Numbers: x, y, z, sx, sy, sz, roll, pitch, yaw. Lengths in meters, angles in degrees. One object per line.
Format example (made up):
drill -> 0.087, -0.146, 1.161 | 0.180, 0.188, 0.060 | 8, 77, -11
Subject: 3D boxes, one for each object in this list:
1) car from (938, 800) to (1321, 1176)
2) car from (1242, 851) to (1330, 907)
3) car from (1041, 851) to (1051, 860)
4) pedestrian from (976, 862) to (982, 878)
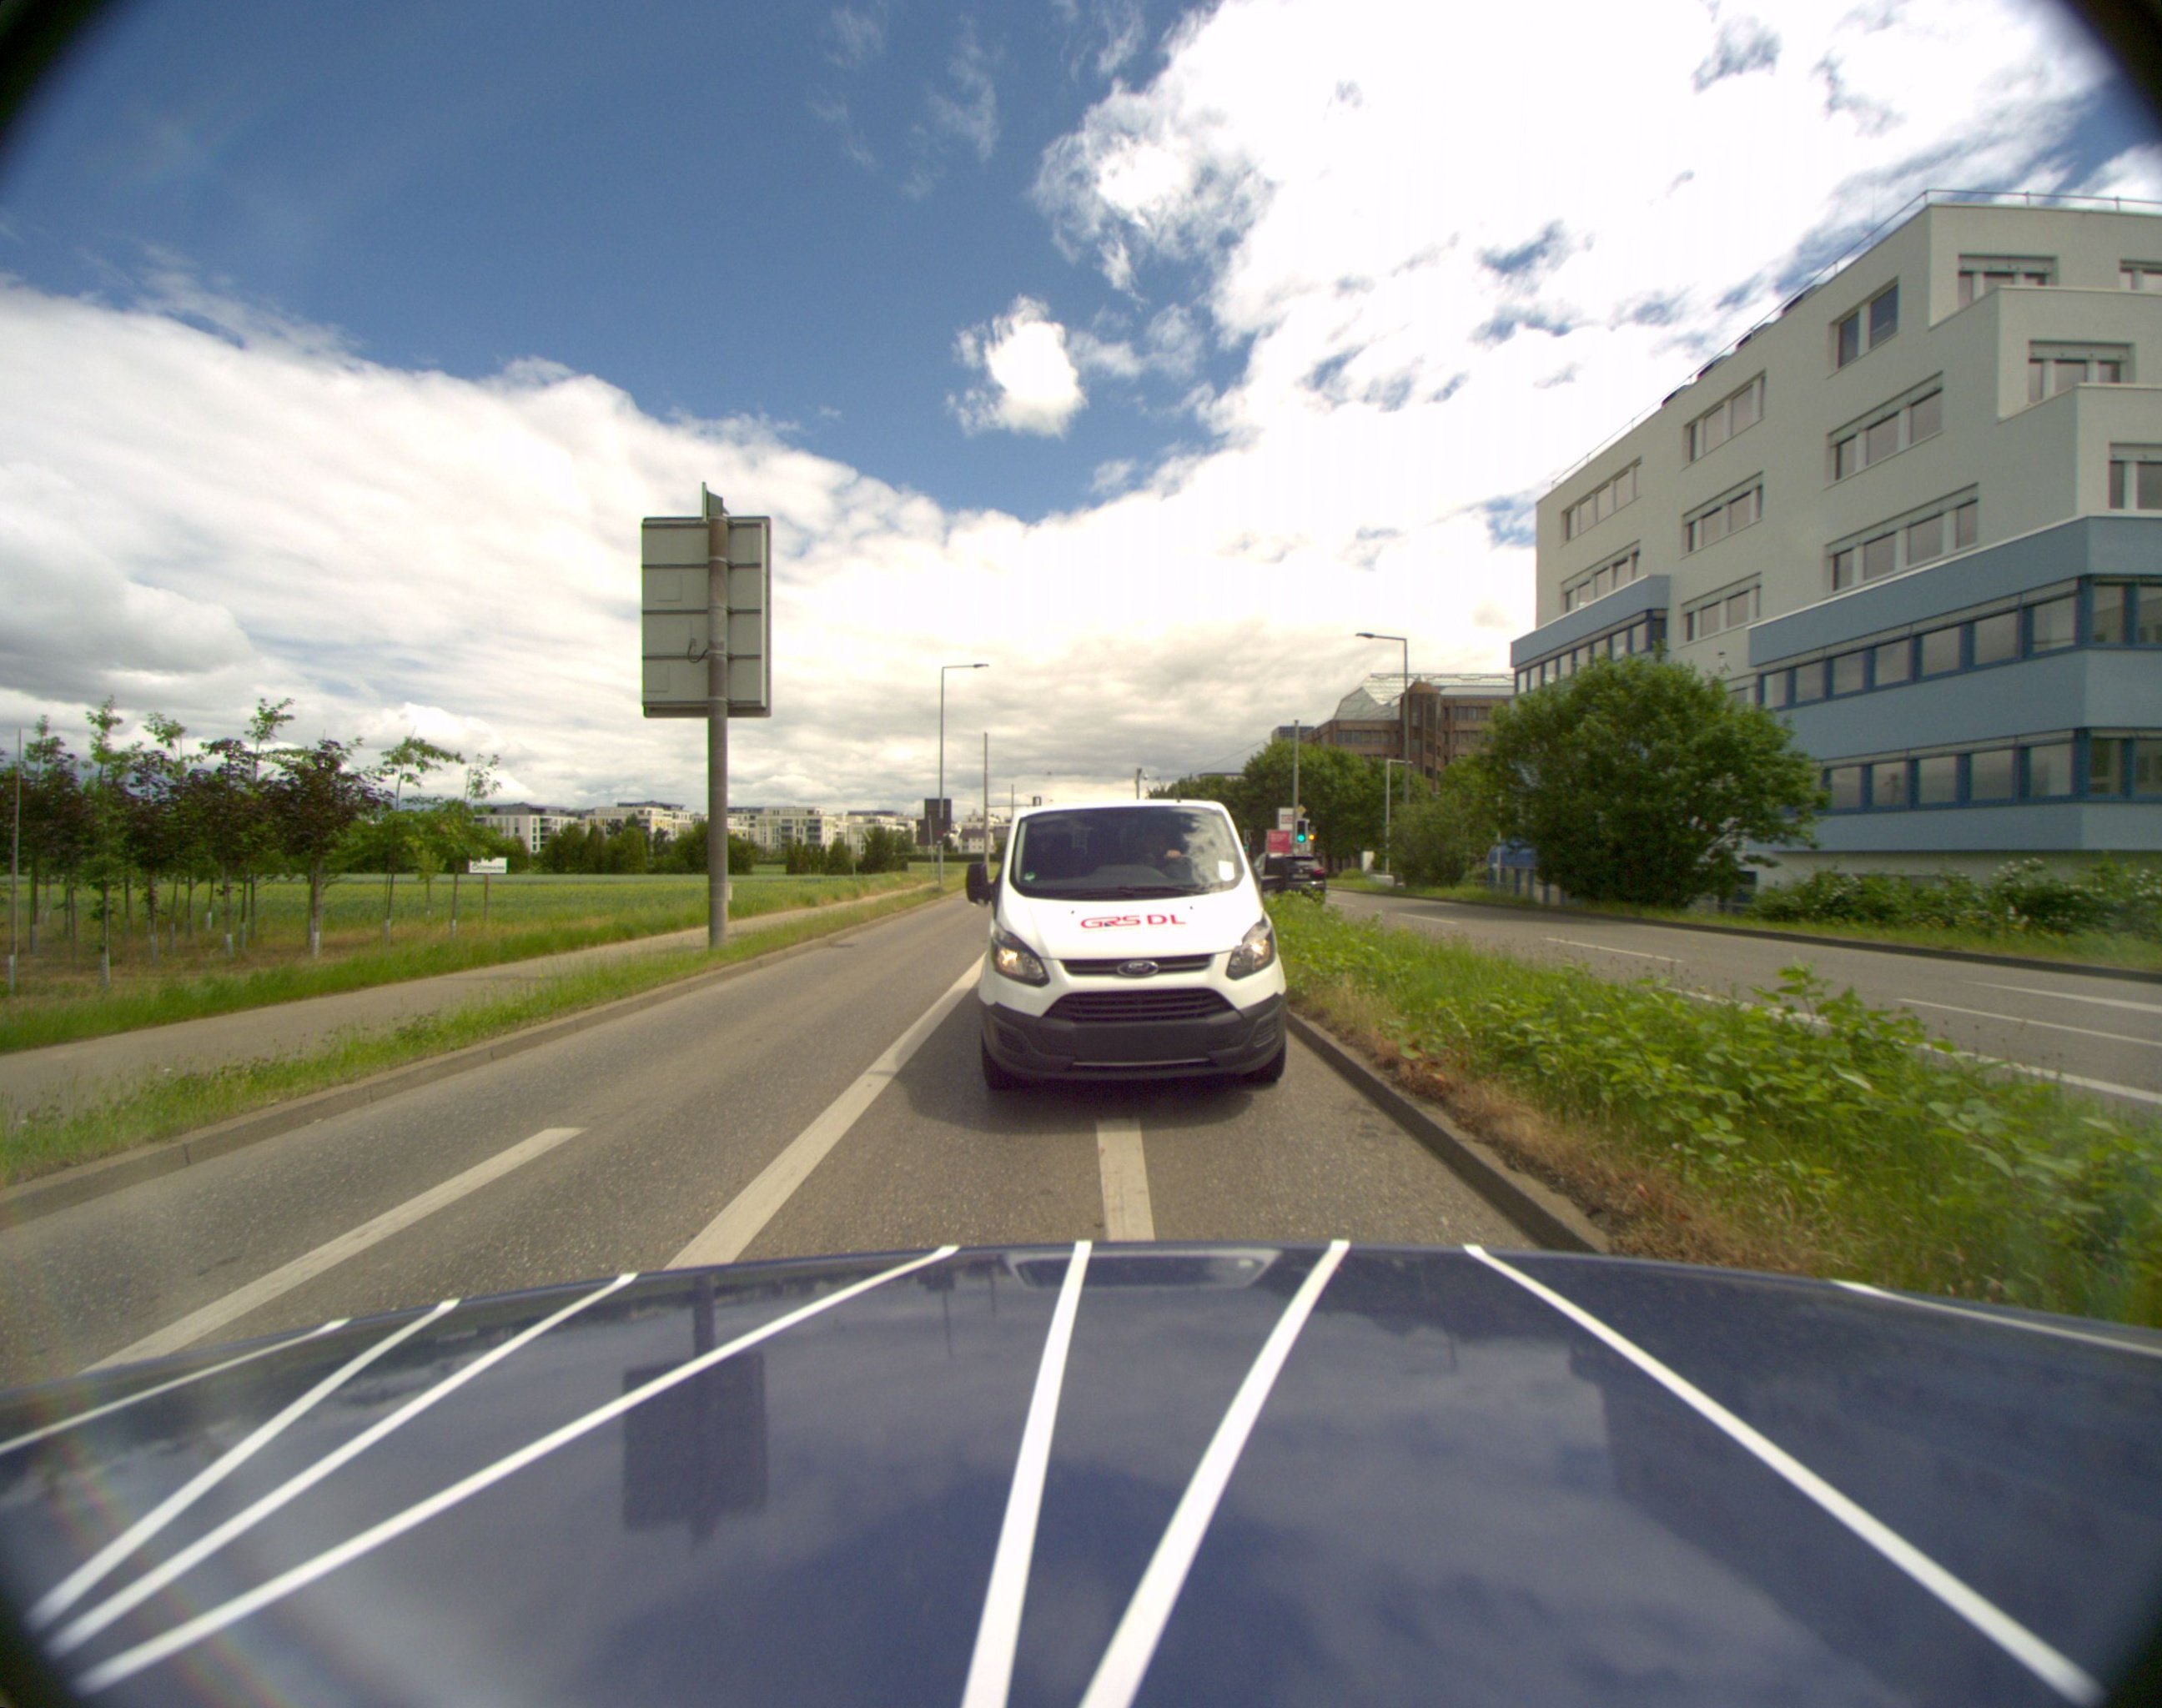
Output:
car -> 0.292, 0.706, 6.530 | 1.968, 1.938, 5.055 | -2, 0, 1
car -> 6.356, 0.723, 24.018 | 1.700, 1.592, 4.043 | -1, 1, 0
car -> -5.956, 0.258, 129.346 | 1.683, 1.410, 3.739 | -1, 1, -1
pedestrian -> -10.440, 1.636, 77.644 | 0.492, 1.693, 0.626 | -2, 1, -1
